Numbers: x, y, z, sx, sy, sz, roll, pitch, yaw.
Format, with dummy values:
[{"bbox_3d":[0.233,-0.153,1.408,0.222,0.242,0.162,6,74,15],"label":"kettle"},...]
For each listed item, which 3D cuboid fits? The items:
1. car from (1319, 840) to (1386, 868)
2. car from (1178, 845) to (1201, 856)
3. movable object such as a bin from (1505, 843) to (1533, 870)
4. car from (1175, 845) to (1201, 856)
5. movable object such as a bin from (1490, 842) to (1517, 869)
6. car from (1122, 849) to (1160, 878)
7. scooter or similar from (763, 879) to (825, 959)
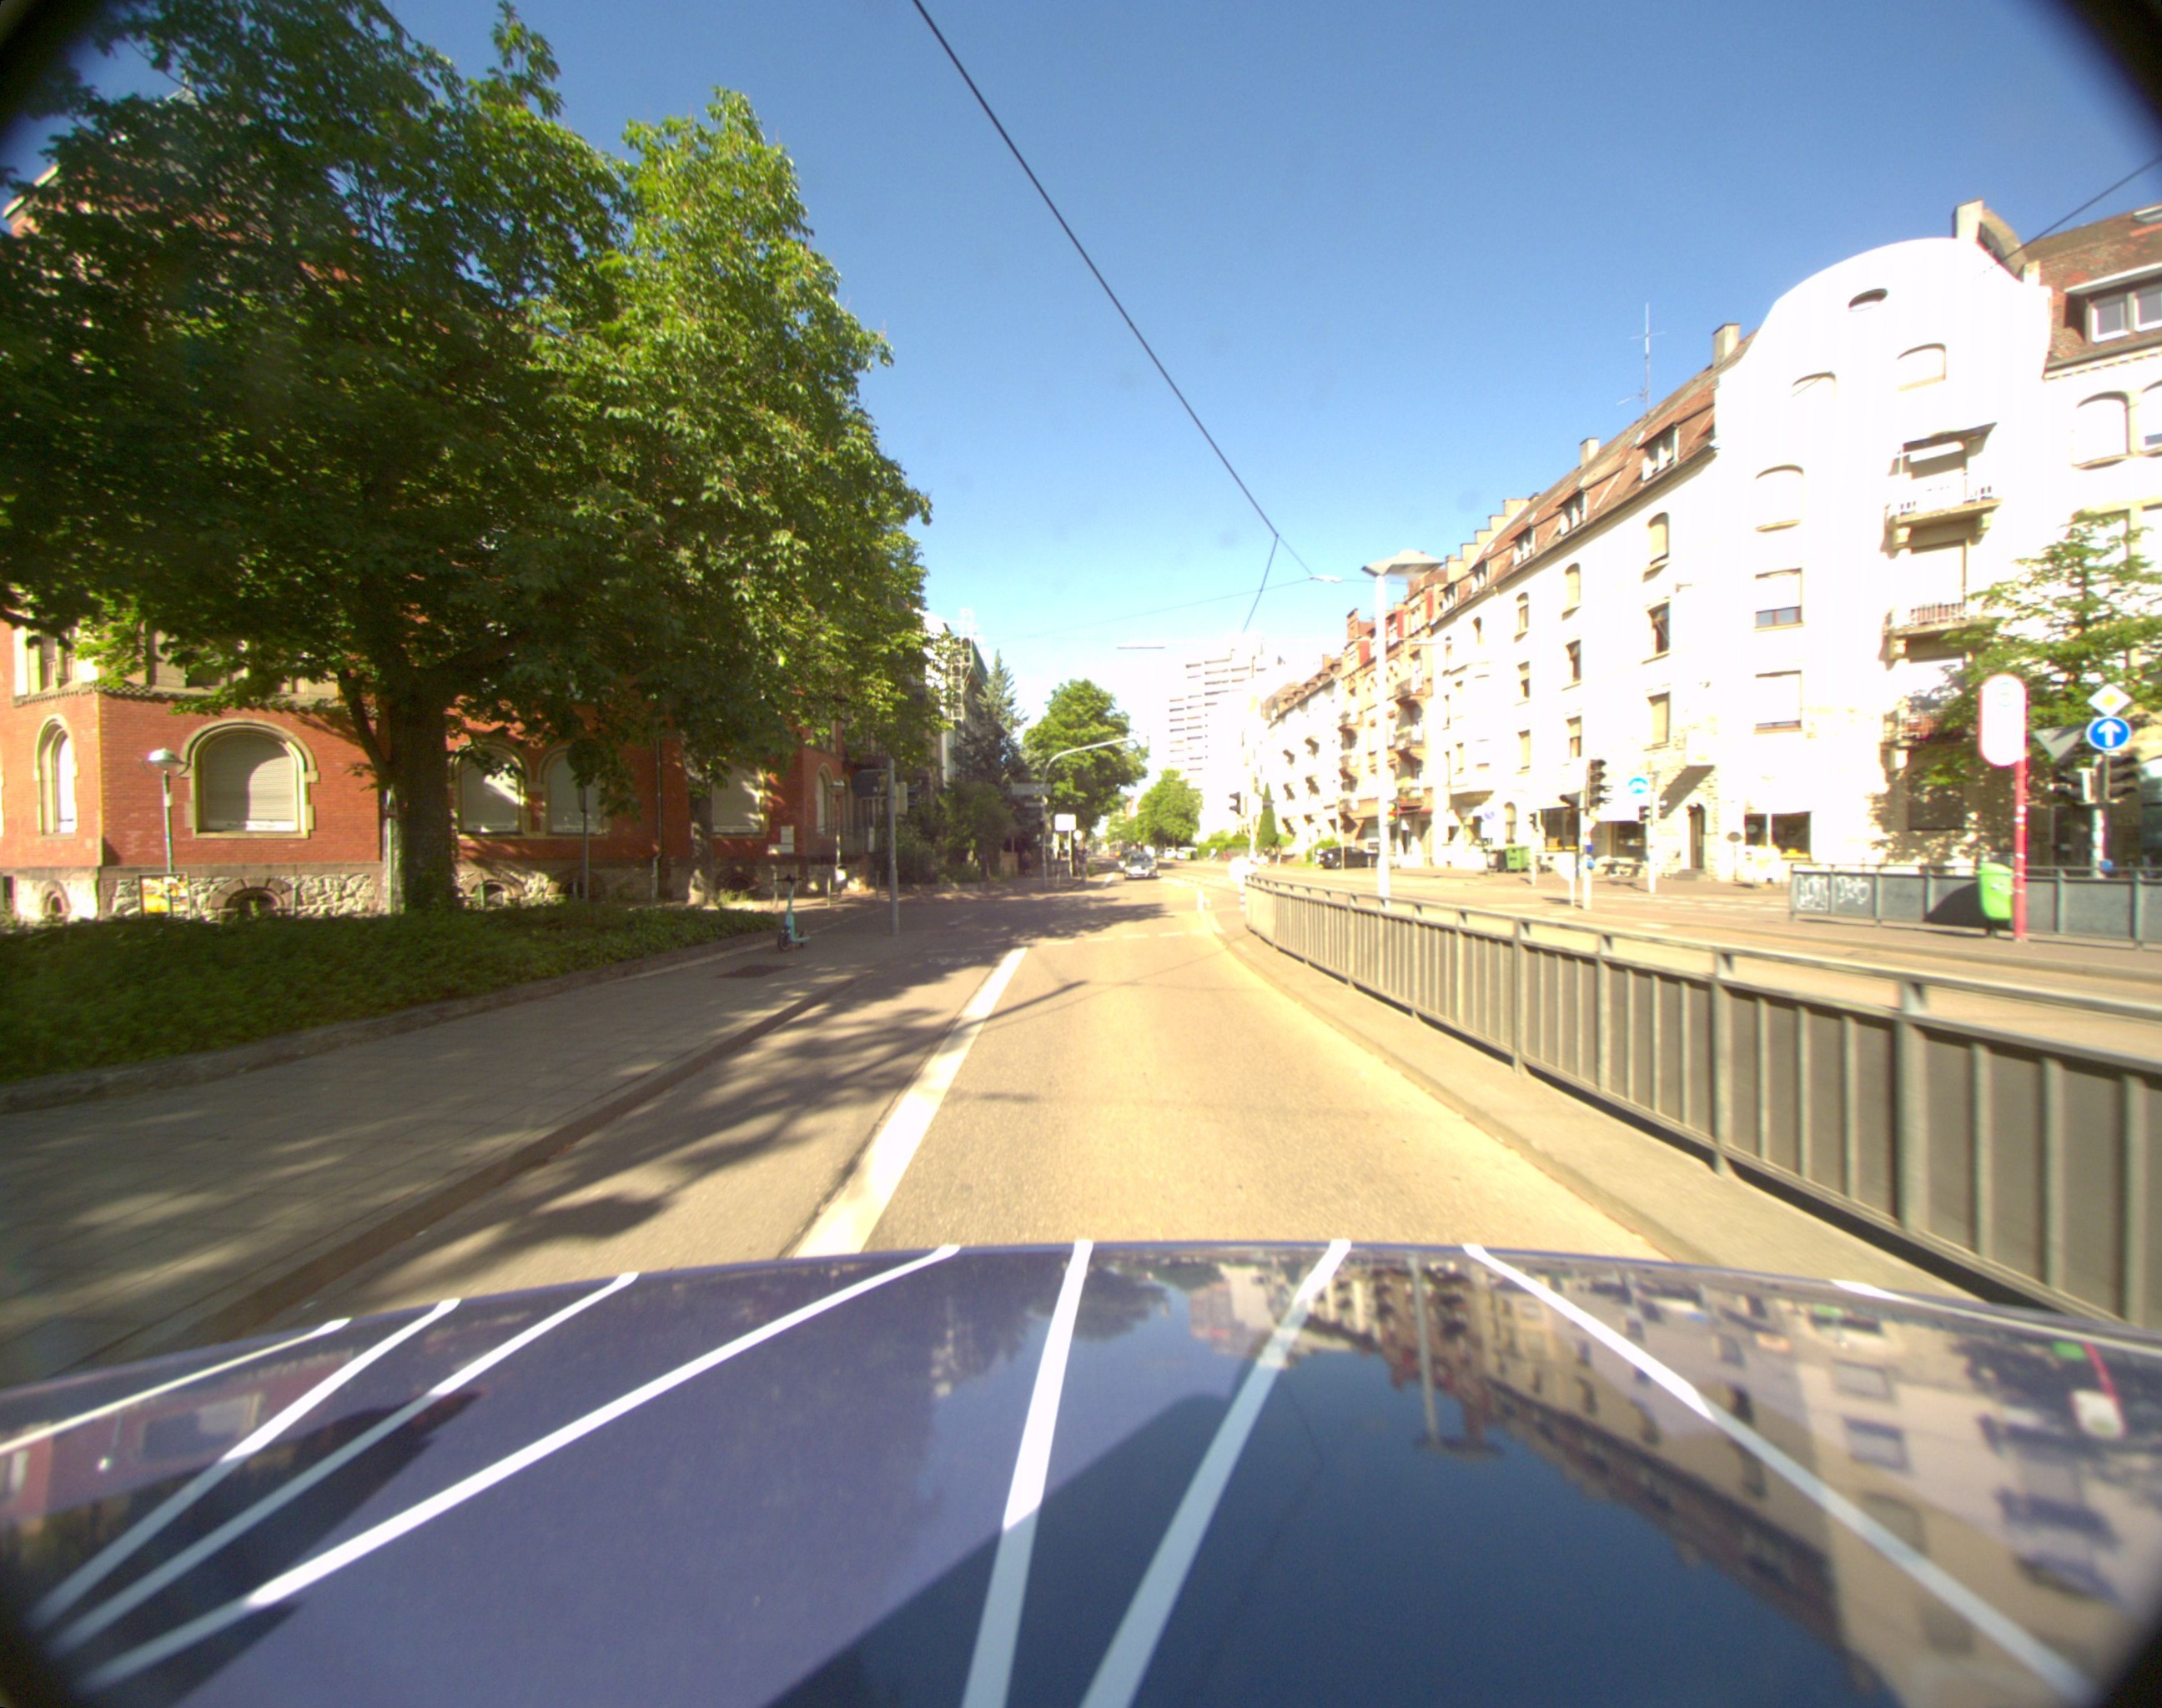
[{"bbox_3d":[18.419,-0.003,51.698,3.886,1.581,1.816,-2,5,-5],"label":"car"},{"bbox_3d":[15.618,-0.524,109.305,1.565,1.412,3.229,-1,1,43],"label":"car"},{"bbox_3d":[21.166,0.115,36.723,0.878,1.301,0.748,-2,1,-6],"label":"movable object such as a bin"},{"bbox_3d":[14.818,-0.433,105.425,3.214,1.412,1.572,-2,1,32],"label":"car"},{"bbox_3d":[20.924,0.084,37.654,0.878,1.301,0.748,-2,1,-6],"label":"movable object such as a bin"},{"bbox_3d":[3.187,0.489,40.920,1.726,1.390,3.612,-2,1,1],"label":"car"},{"bbox_3d":[-4.727,1.050,12.586,0.519,1.241,1.276,-1,-1,1],"label":"scooter or similar"}]
